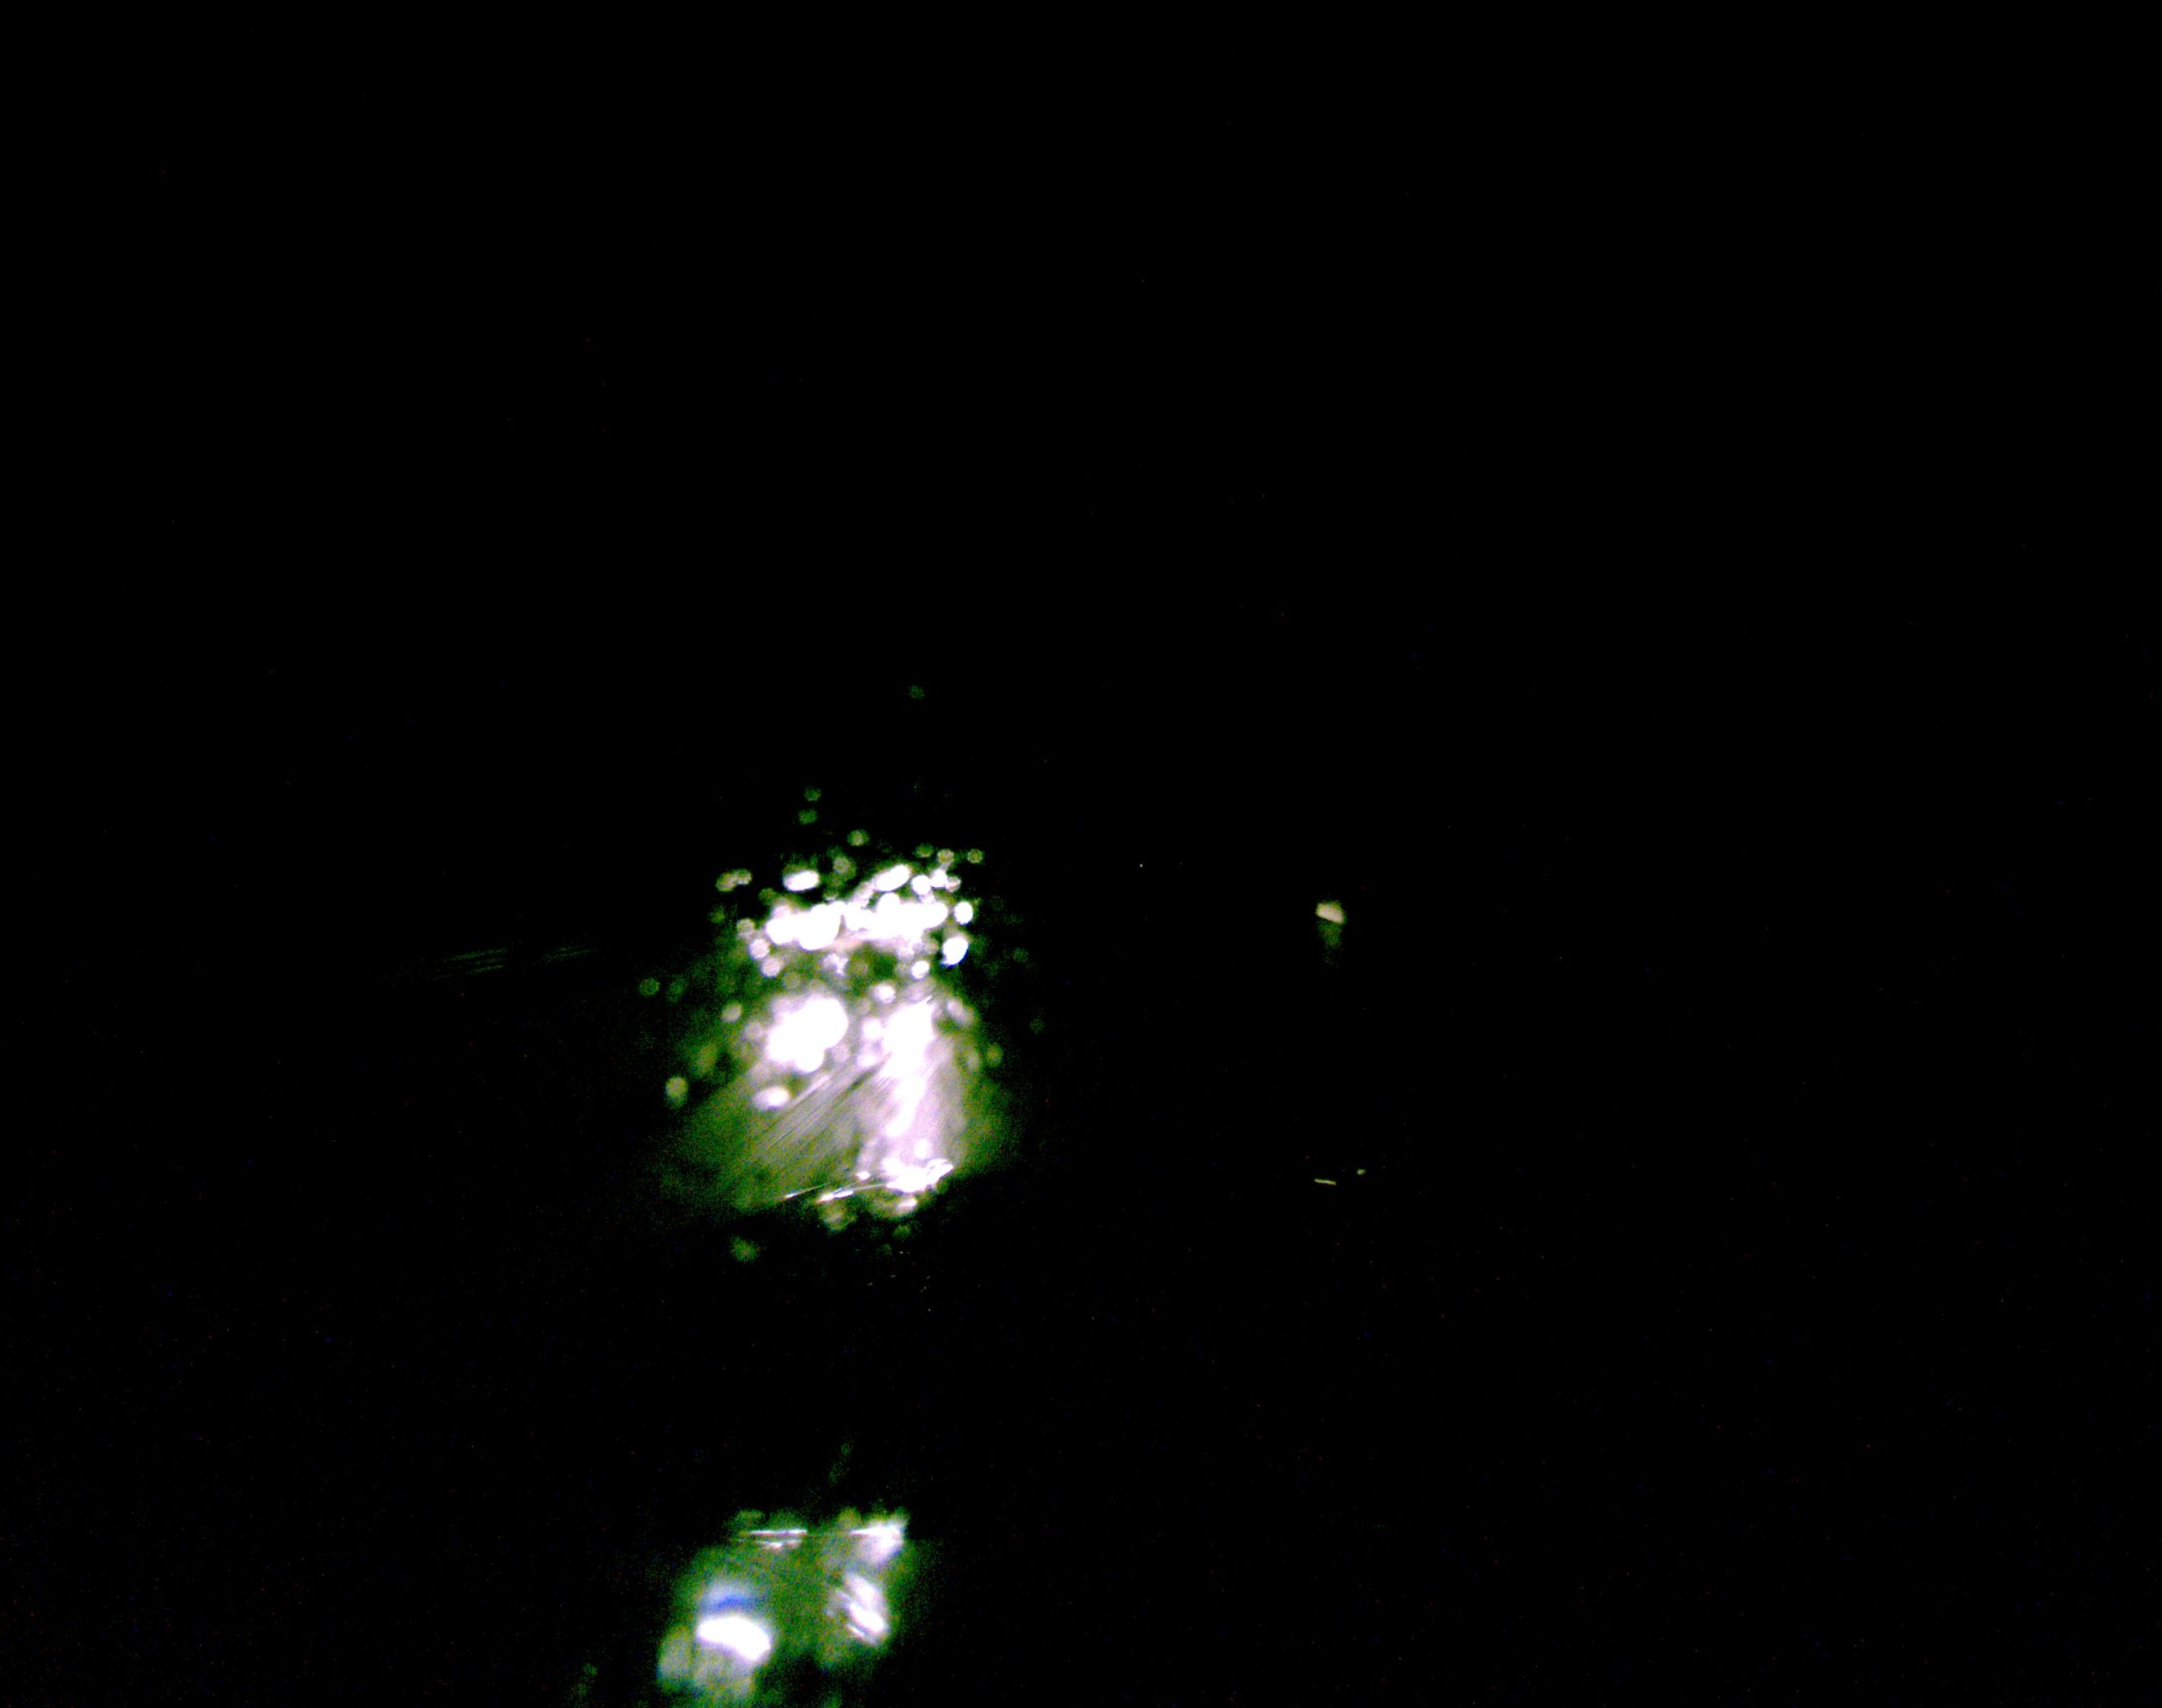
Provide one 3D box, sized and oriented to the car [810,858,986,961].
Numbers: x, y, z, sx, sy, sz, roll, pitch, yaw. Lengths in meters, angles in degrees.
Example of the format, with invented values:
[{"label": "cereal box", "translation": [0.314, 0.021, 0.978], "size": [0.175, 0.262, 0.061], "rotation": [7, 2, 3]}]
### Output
[{"label": "car", "translation": [-2.937, 0.828, 14.087], "size": [1.910, 1.464, 4.261], "rotation": [-1, 0, 2]}]
